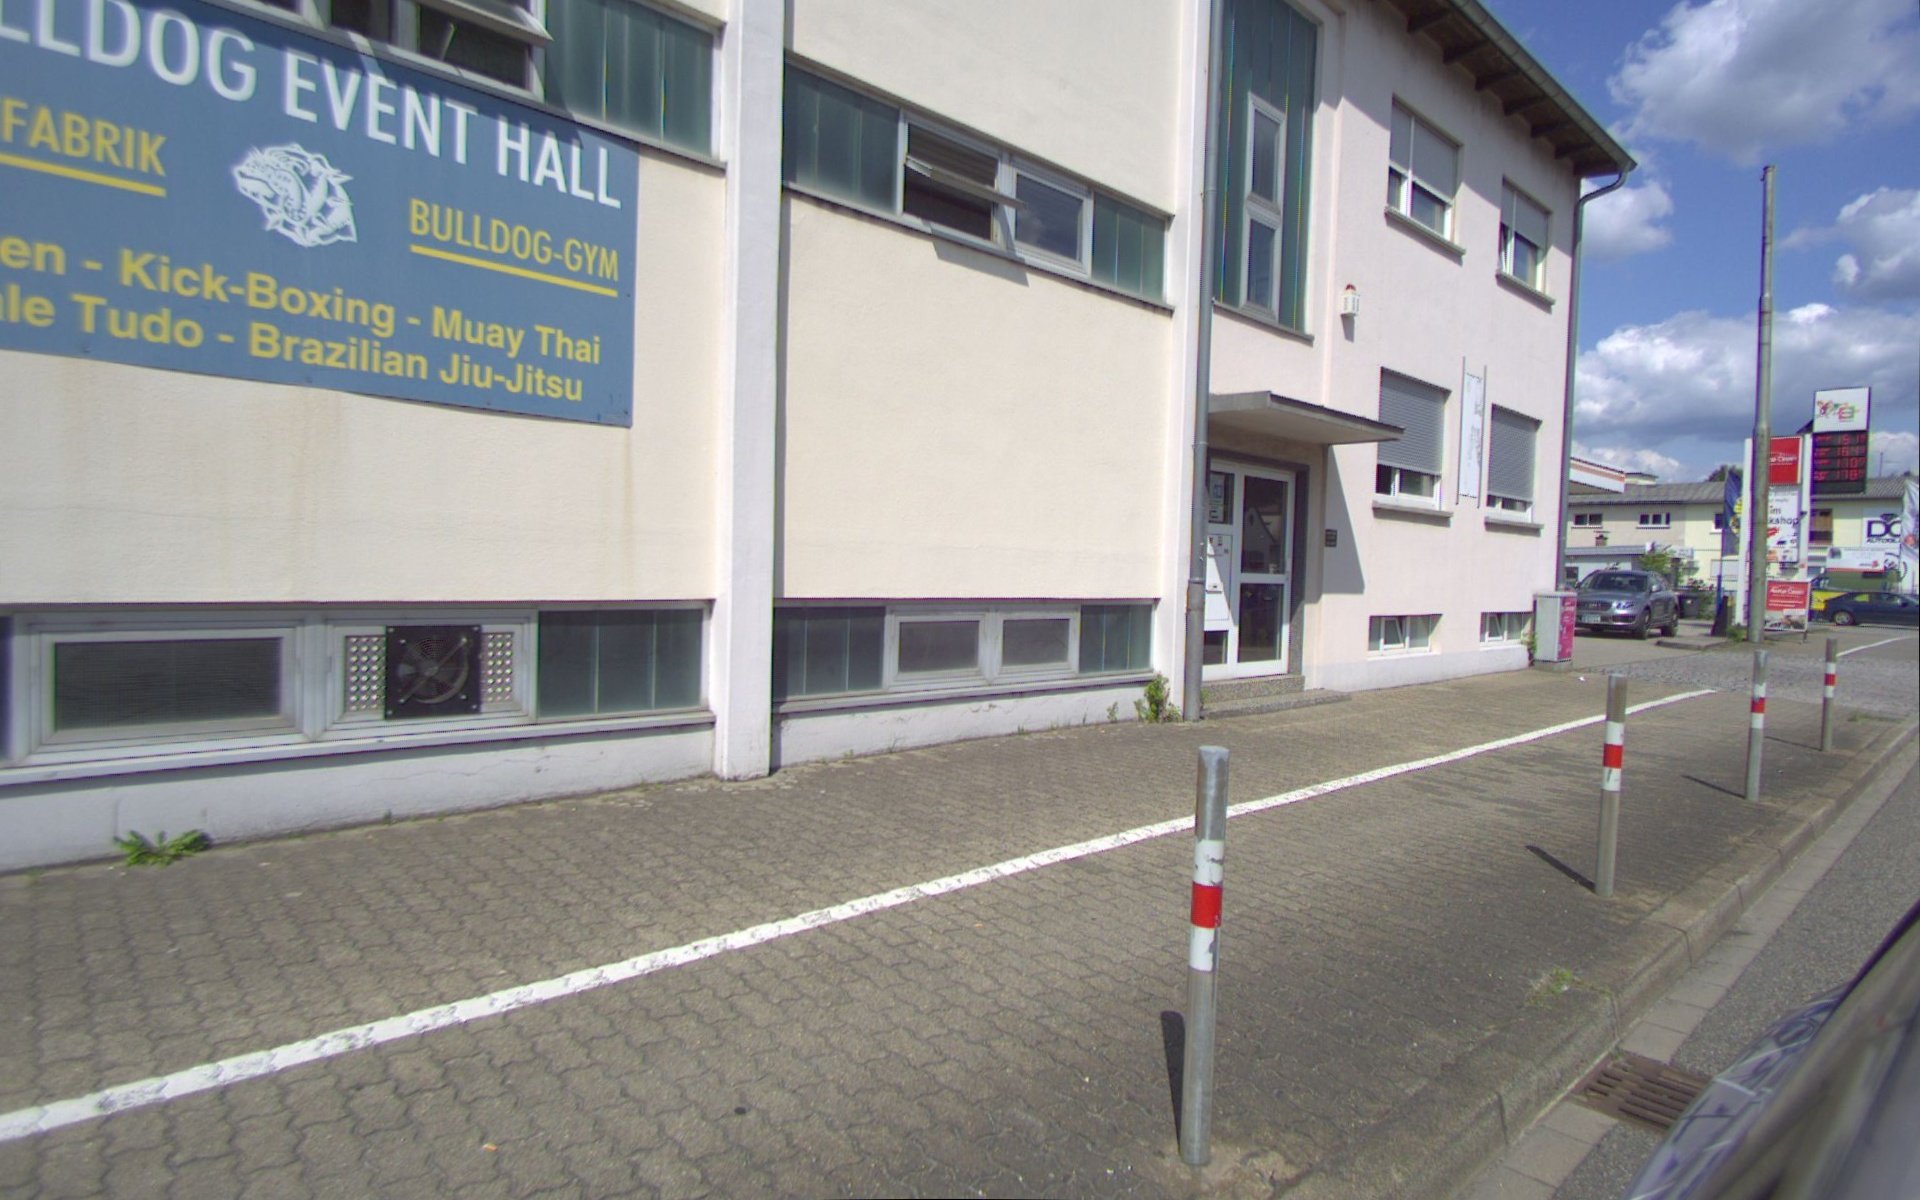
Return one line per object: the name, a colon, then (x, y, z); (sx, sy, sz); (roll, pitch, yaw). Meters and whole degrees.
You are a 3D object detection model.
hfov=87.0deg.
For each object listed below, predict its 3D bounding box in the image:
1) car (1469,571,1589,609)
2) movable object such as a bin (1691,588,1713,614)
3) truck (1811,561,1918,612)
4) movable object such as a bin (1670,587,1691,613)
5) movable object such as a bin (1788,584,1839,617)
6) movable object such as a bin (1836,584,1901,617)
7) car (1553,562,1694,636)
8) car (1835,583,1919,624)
car: (24.589, -0.466, 43.863); (1.740, 1.441, 4.145); (-1, 4, -40)
movable object such as a bin: (29.908, 0.026, 40.793); (0.695, 1.023, 0.581); (-1, 1, -43)
truck: (50.358, -0.779, 56.399); (2.071, 2.693, 4.179); (-1, 1, -40)
movable object such as a bin: (29.346, 0.002, 41.209); (0.695, 1.023, 0.581); (-1, 1, -43)
movable object such as a bin: (38.106, 0.021, 45.180); (1.735, 1.427, 1.534); (-1, 1, -42)
movable object such as a bin: (39.391, -0.013, 43.889); (1.679, 1.364, 1.965); (-1, 1, -42)
car: (16.685, -0.076, 25.362); (4.539, 1.645, 1.948); (-1, 3, -44)
car: (35.726, 0.139, 38.002); (1.616, 1.425, 4.067); (-1, 3, -35)
